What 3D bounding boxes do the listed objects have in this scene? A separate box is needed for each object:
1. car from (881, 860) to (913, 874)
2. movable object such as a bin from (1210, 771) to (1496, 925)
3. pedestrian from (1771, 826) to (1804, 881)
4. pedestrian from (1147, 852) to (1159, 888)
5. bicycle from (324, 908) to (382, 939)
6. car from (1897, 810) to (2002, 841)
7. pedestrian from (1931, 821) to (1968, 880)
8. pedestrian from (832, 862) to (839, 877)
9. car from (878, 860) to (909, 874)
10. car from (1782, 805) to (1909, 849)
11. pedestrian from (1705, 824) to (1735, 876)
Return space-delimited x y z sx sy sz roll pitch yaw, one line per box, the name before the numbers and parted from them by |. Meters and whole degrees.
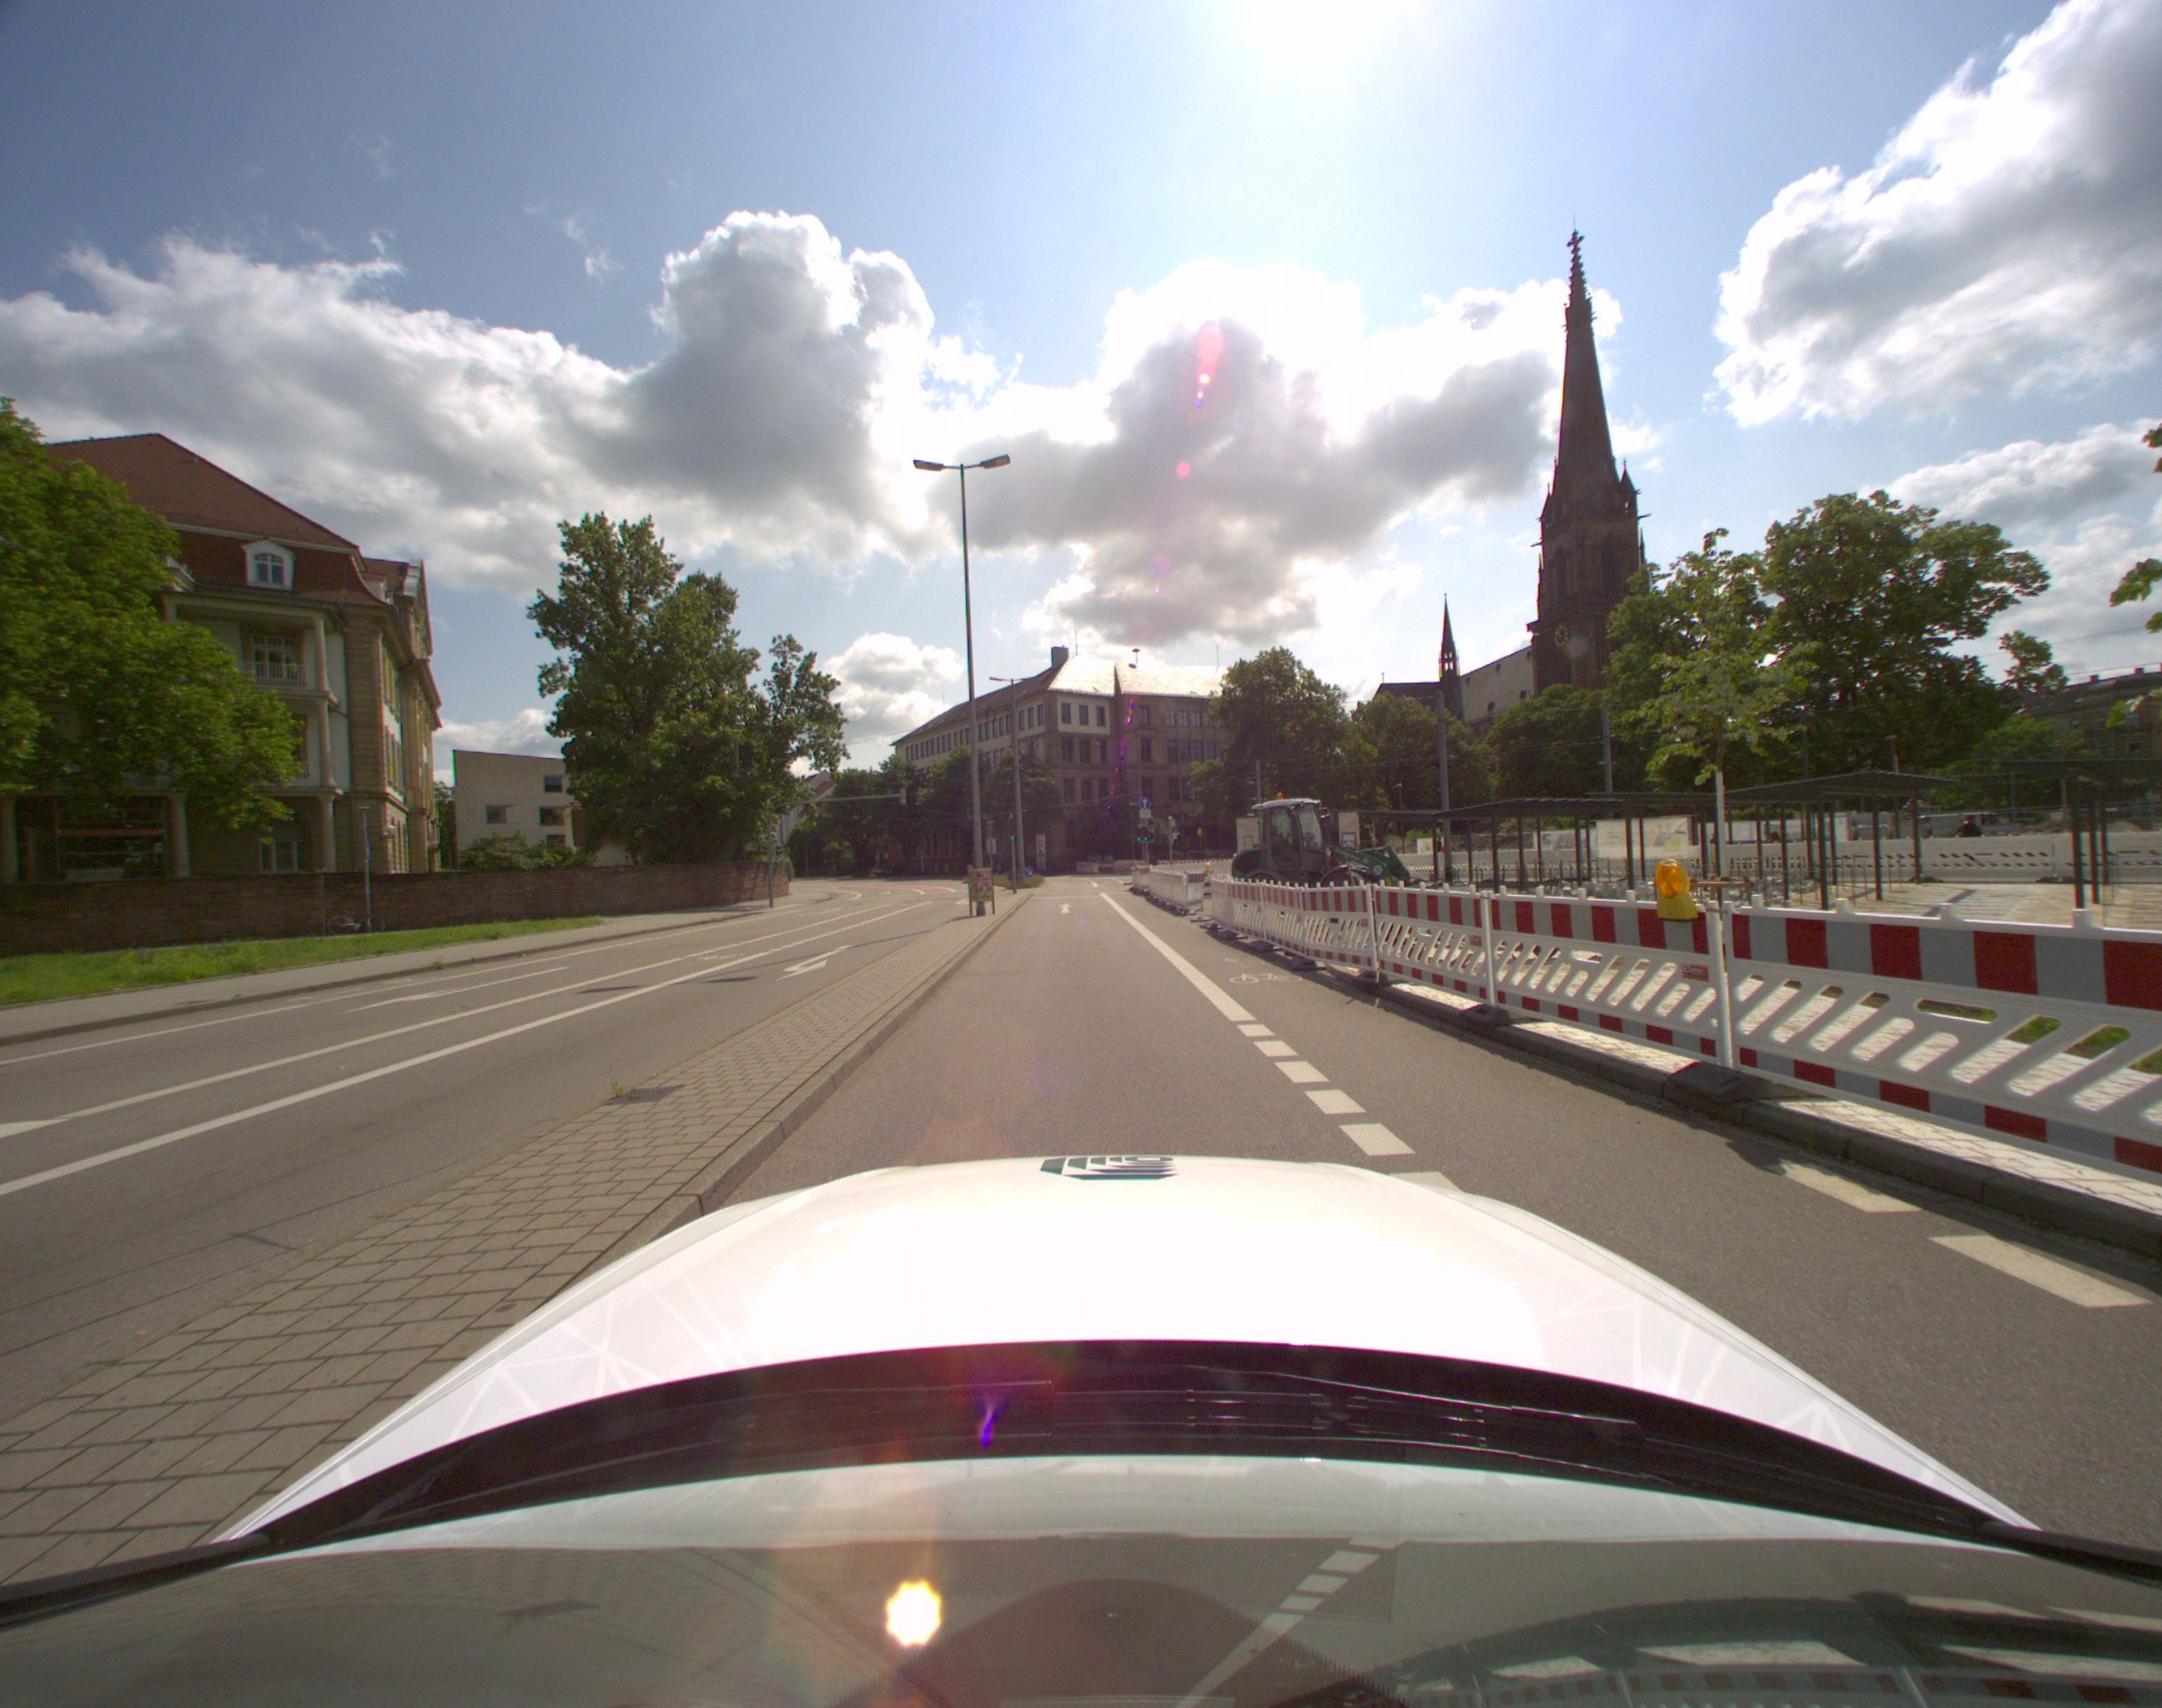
car | -24.825 1.780 109.856 3.984 1.684 1.798 -2 0 -8
movable object such as a bin | 5.807 -0.075 18.006 2.301 2.884 5.474 -2 0 -44
pedestrian | 26.641 -0.020 30.724 0.754 2.013 0.754 -2 0 -38
pedestrian | 3.762 0.836 42.454 0.495 1.850 0.530 -2 0 9
bicycle | -26.485 2.520 29.643 0.389 0.992 1.532 -2 0 44
car | 56.404 -1.804 52.988 1.787 1.793 4.333 -2 0 -27
pedestrian | 30.105 -0.120 28.230 0.754 2.013 0.754 -2 0 -38
pedestrian | -34.484 2.210 114.478 0.700 2.013 0.886 -2 0 -32
car | -25.807 1.765 112.162 3.984 1.684 1.798 -2 0 -8
car | 36.592 -1.243 39.063 1.811 1.881 4.134 -2 0 -36
pedestrian | 25.729 -0.160 32.789 0.767 2.013 0.741 -2 0 -39
